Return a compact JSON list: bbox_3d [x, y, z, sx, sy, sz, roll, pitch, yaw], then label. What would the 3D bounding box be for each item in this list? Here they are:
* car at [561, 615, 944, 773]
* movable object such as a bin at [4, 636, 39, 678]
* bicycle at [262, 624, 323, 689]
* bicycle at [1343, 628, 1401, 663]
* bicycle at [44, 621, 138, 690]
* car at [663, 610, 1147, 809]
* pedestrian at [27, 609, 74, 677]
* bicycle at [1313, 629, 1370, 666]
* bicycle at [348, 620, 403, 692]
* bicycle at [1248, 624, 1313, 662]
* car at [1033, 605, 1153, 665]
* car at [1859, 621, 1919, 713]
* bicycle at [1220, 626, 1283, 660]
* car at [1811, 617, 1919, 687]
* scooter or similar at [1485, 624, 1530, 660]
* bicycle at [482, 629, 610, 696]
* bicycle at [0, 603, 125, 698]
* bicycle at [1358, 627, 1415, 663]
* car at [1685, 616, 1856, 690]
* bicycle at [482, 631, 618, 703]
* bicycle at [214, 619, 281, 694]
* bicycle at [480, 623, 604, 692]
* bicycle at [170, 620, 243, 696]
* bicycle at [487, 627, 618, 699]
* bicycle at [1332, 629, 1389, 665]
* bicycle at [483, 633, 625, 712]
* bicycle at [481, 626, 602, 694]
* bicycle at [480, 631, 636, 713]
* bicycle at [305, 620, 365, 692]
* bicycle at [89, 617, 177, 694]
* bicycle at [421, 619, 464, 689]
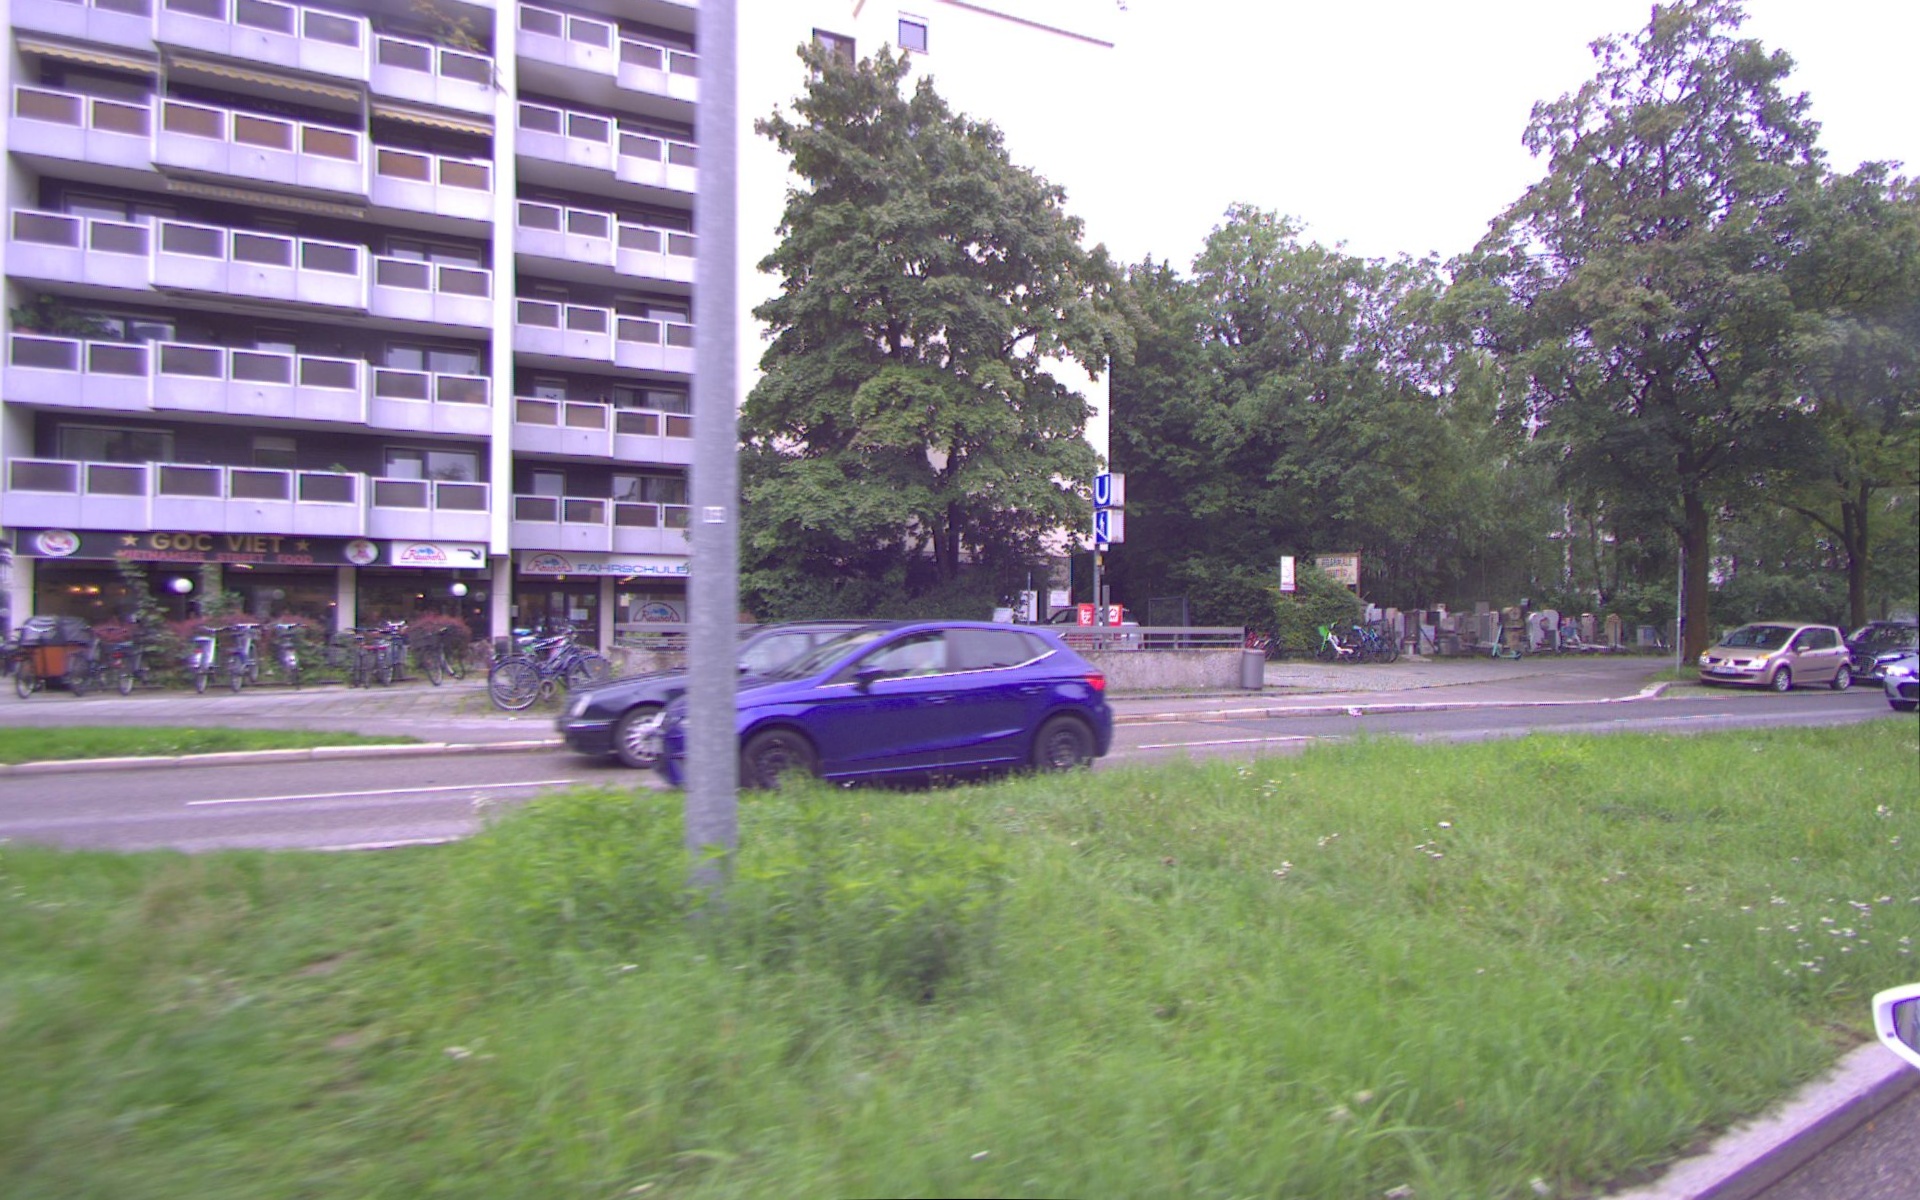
[{"bbox_3d":[-2.291,0.934,11.208,3.914,1.504,1.686,1,-1,-26],"label":"car"},{"bbox_3d":[-22.398,1.350,23.968,0.531,0.978,0.371,1,-1,-32],"label":"movable object such as a bin"},{"bbox_3d":[-12.059,0.990,18.192,0.482,1.118,1.945,0,-1,-20],"label":"bicycle"},{"bbox_3d":[12.167,1.331,29.714,0.430,1.020,1.757,1,-1,-24],"label":"bicycle"},{"bbox_3d":[-14.811,0.915,17.178,0.551,1.118,1.945,0,-1,-20],"label":"bicycle"},{"bbox_3d":[-0.456,0.819,8.798,3.914,1.421,1.686,1,-1,-26],"label":"car"},{"bbox_3d":[-21.777,1.020,24.063,0.659,1.606,0.655,1,-1,-26],"label":"pedestrian"},{"bbox_3d":[10.934,1.336,28.852,0.430,1.020,1.757,1,-1,-24],"label":"bicycle"},{"bbox_3d":[-10.841,1.010,18.673,0.551,1.118,1.944,0,3,-20],"label":"bicycle"},{"bbox_3d":[9.639,1.273,30.167,2.004,1.114,0.577,1,-1,-24],"label":"bicycle"},{"bbox_3d":[3.783,0.994,29.174,1.723,1.610,3.979,1,-1,-22],"label":"car"},{"bbox_3d":[17.918,1.125,17.331,4.800,1.504,1.909,1,-2,-26],"label":"car"},{"bbox_3d":[9.044,1.325,31.140,2.004,1.020,0.577,1,-1,-24],"label":"bicycle"},{"bbox_3d":[24.740,1.317,26.452,4.620,1.665,1.734,1,0,-24],"label":"car"},{"bbox_3d":[17.533,1.348,32.165,1.267,1.142,0.435,0,-1,-12],"label":"scooter or similar"},{"bbox_3d":[-6.825,1.014,16.611,1.926,1.044,0.407,0,3,-23],"label":"bicycle"},{"bbox_3d":[-15.679,0.812,17.418,0.776,1.301,3.321,0,3,-20],"label":"bicycle"},{"bbox_3d":[12.695,1.321,29.968,0.430,1.020,1.757,1,-1,-24],"label":"bicycle"},{"bbox_3d":[19.510,1.234,24.181,3.764,1.636,1.643,1,0,-23],"label":"car"},{"bbox_3d":[-6.339,1.019,15.581,1.926,1.054,0.407,0,3,-23],"label":"bicycle"},{"bbox_3d":[-12.690,0.975,17.939,0.482,1.118,1.944,0,3,-20],"label":"bicycle"},{"bbox_3d":[-7.098,0.966,17.118,1.926,1.119,0.407,0,3,-23],"label":"bicycle"},{"bbox_3d":[-13.275,0.987,17.743,0.482,1.118,1.944,0,3,-20],"label":"bicycle"},{"bbox_3d":[-6.511,0.991,16.107,1.926,1.087,0.407,0,3,-23],"label":"bicycle"},{"bbox_3d":[11.664,1.351,29.318,0.430,1.020,1.757,1,-1,-24],"label":"bicycle"},{"bbox_3d":[-6.032,1.059,14.988,1.926,1.093,0.407,0,3,-23],"label":"bicycle"},{"bbox_3d":[-7.312,1.032,17.594,1.926,1.112,0.407,0,3,-23],"label":"bicycle"},{"bbox_3d":[-5.781,1.017,14.522,2.054,1.104,0.407,0,3,-23],"label":"bicycle"},{"bbox_3d":[-11.475,0.995,18.501,0.551,1.118,1.944,0,3,-20],"label":"bicycle"},{"bbox_3d":[-14.268,0.925,17.380,0.551,1.118,1.944,0,3,-20],"label":"bicycle"},{"bbox_3d":[-9.798,0.986,19.059,0.482,1.118,1.944,0,3,-20],"label":"bicycle"}]
